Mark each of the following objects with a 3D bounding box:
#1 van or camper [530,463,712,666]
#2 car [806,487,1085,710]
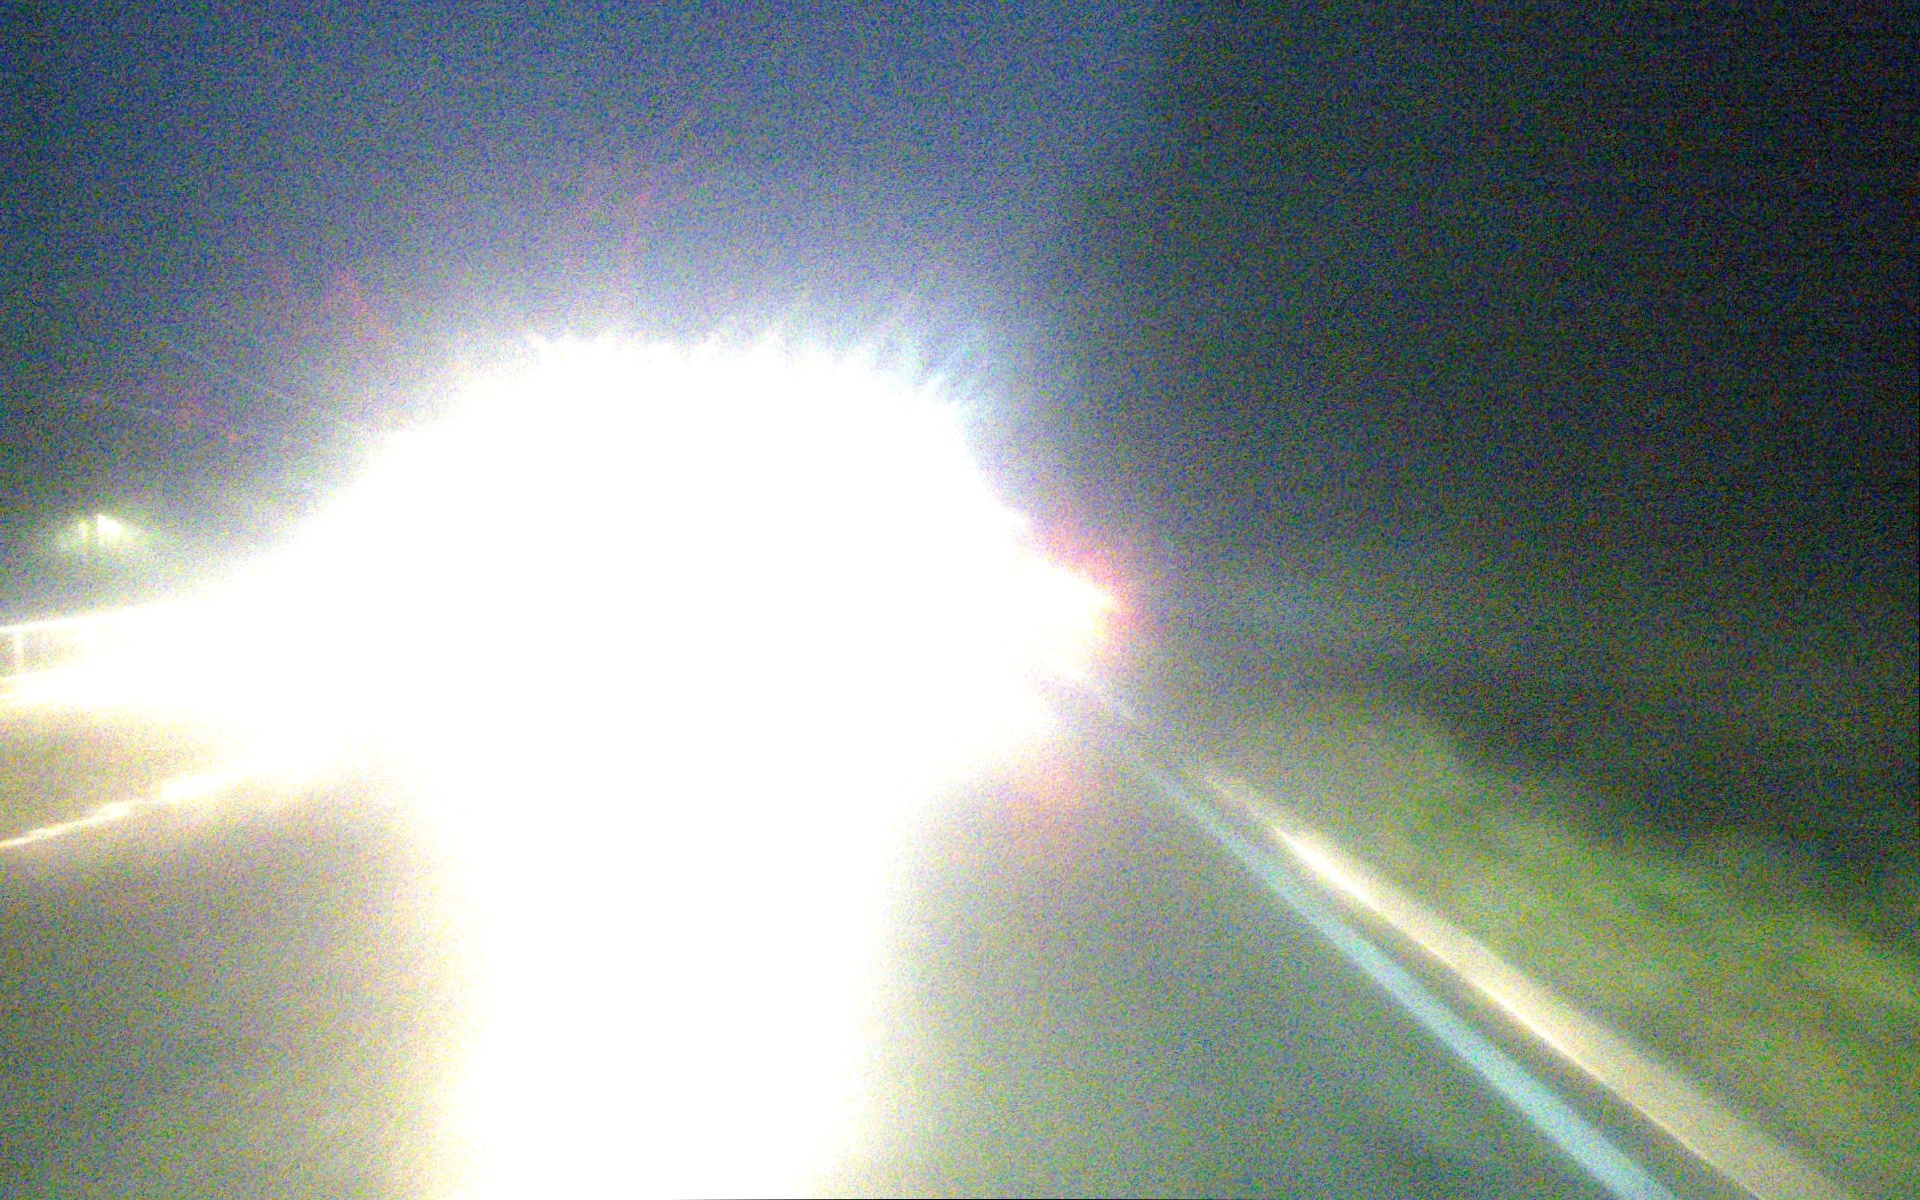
[{"bbox_3d":[-4.651,-0.523,47.950,2.123,2.557,5.785,-3,1,-3],"label":"van or camper"},{"bbox_3d":[-0.125,-0.035,32.779,2.458,1.952,4.912,0,0,0],"label":"car"}]
